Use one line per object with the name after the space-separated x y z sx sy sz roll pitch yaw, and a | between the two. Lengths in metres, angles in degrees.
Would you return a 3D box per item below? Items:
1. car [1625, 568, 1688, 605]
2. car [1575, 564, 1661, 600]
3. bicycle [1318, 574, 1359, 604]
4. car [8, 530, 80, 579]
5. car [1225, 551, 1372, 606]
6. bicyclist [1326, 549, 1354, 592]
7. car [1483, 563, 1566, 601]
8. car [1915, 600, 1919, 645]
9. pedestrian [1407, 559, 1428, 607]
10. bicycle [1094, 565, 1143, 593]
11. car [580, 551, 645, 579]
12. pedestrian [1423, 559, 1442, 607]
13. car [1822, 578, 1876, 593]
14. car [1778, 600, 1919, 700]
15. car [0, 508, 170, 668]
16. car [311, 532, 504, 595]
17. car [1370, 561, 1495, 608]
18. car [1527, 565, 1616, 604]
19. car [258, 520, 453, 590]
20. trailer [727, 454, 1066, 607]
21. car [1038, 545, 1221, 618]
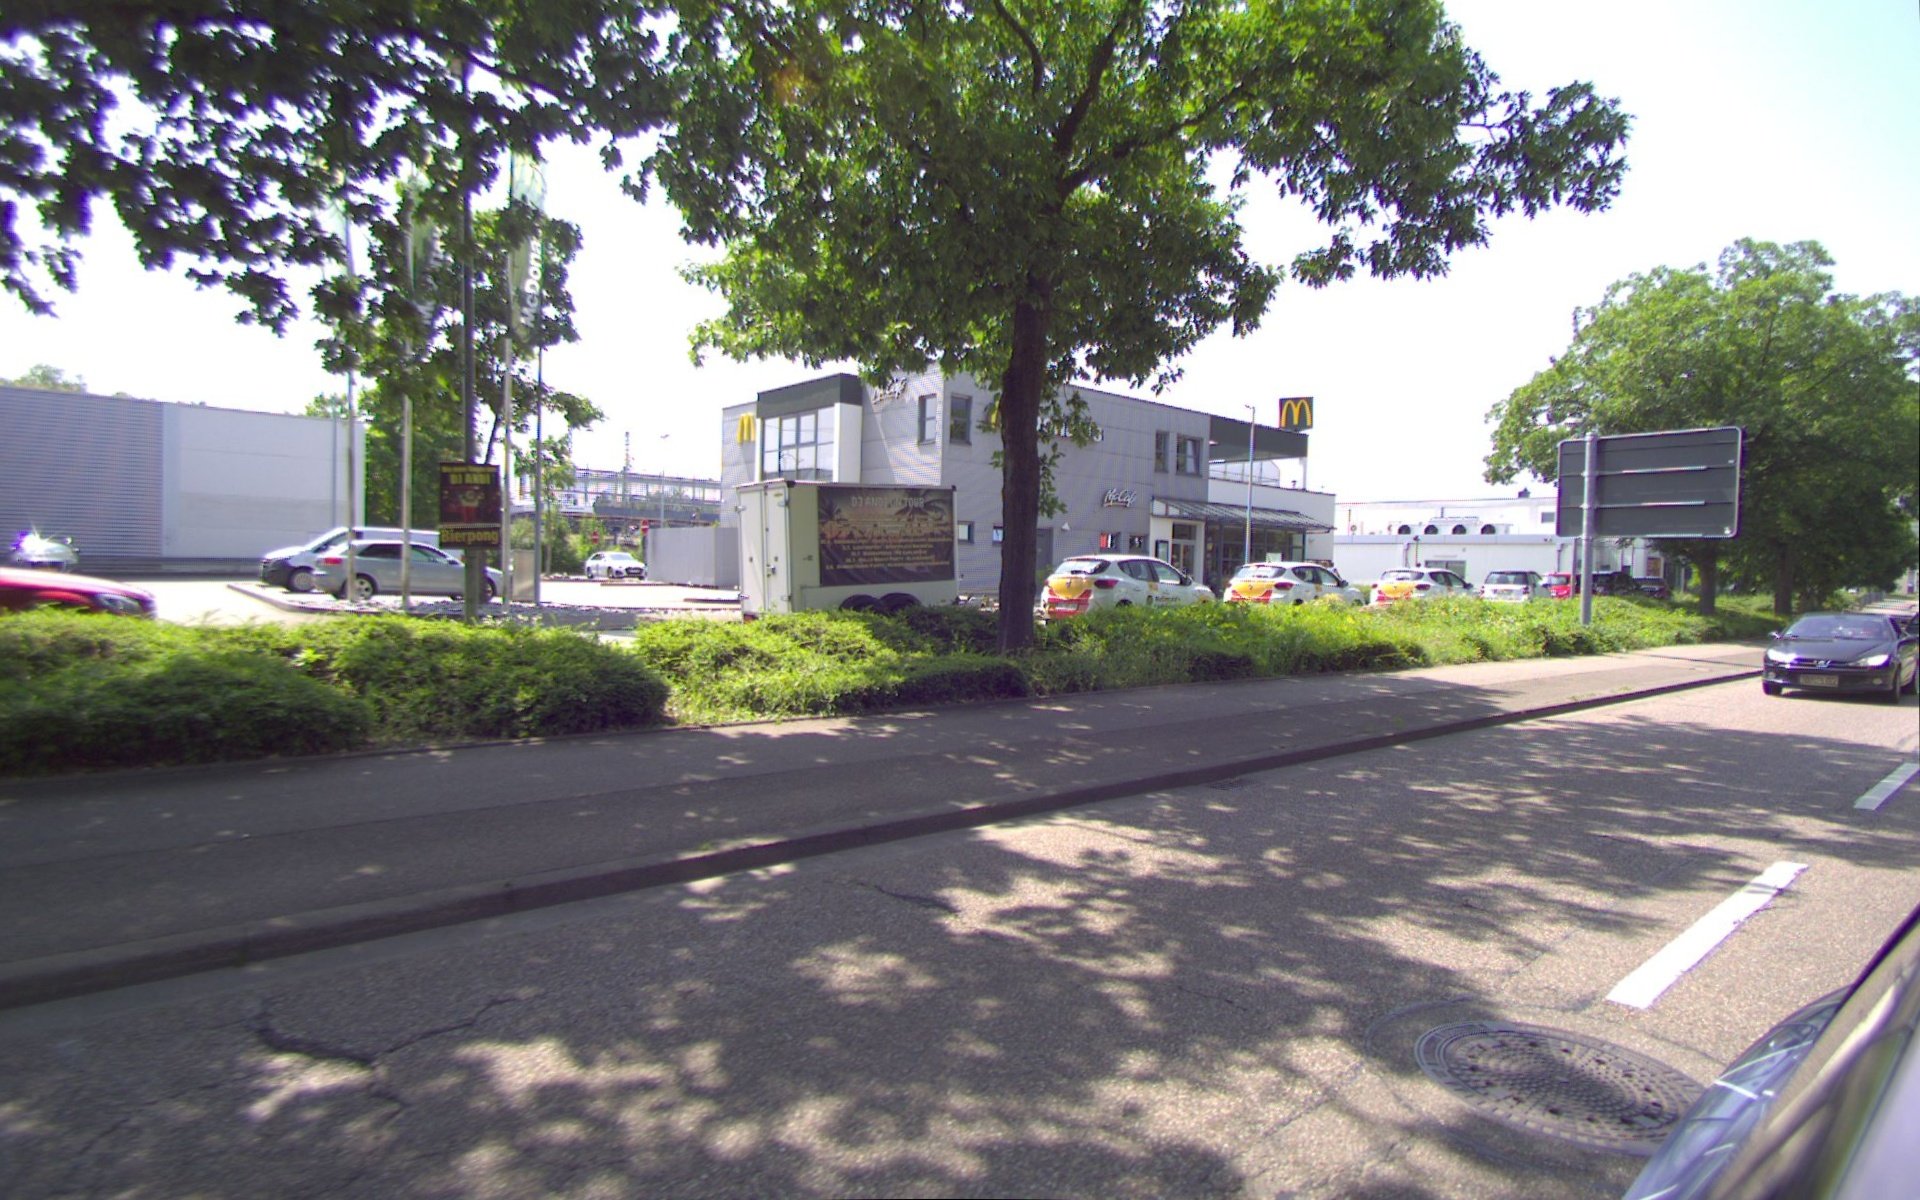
29.587 -0.601 42.937 1.901 1.469 5.525 1 2 38 | car
24.781 -0.676 38.070 4.125 1.268 1.622 -1 0 -40 | car
16.357 -0.481 43.732 2.205 1.240 0.692 0 2 -43 | bicycle
-32.475 -1.633 35.899 1.816 1.593 3.993 0 3 -43 | car
7.860 -0.501 23.363 3.673 1.172 1.596 -1 2 -41 | car
16.411 -1.263 43.731 0.849 1.826 0.779 0 2 -43 | bicyclist
17.946 -0.578 32.157 2.807 1.136 1.509 -1 2 -42 | car
31.111 0.719 31.657 1.707 1.340 3.894 3 3 43 | car
18.765 -0.691 41.511 0.401 1.945 0.582 1 2 -41 | pedestrian
6.052 -0.796 38.605 2.064 0.992 0.590 0 2 -39 | bicycle
-17.313 -1.767 50.309 1.526 1.238 4.236 0 3 -41 | car
19.154 -0.693 41.009 0.525 1.945 0.467 0 2 -41 | pedestrian
101.937 -1.714 116.084 1.670 1.523 4.579 -1 3 -45 | car
14.663 0.733 16.588 1.637 1.373 3.444 2 2 44 | car
-9.635 -0.129 8.831 4.249 1.397 1.704 0 2 -41 | car
-12.848 -0.819 23.625 3.710 1.356 1.587 0 2 -40 | car
13.445 -0.456 28.731 3.795 1.268 1.624 -1 2 -37 | car
21.106 -0.544 34.879 3.699 1.268 1.621 -1 2 -42 | car
-17.220 -1.257 28.965 4.550 1.827 1.713 0 2 -41 | car
-0.846 -0.965 16.158 5.383 2.081 1.705 0 1 -38 | trailer
3.302 -0.366 19.406 3.568 1.268 1.621 -1 2 -42 | car
